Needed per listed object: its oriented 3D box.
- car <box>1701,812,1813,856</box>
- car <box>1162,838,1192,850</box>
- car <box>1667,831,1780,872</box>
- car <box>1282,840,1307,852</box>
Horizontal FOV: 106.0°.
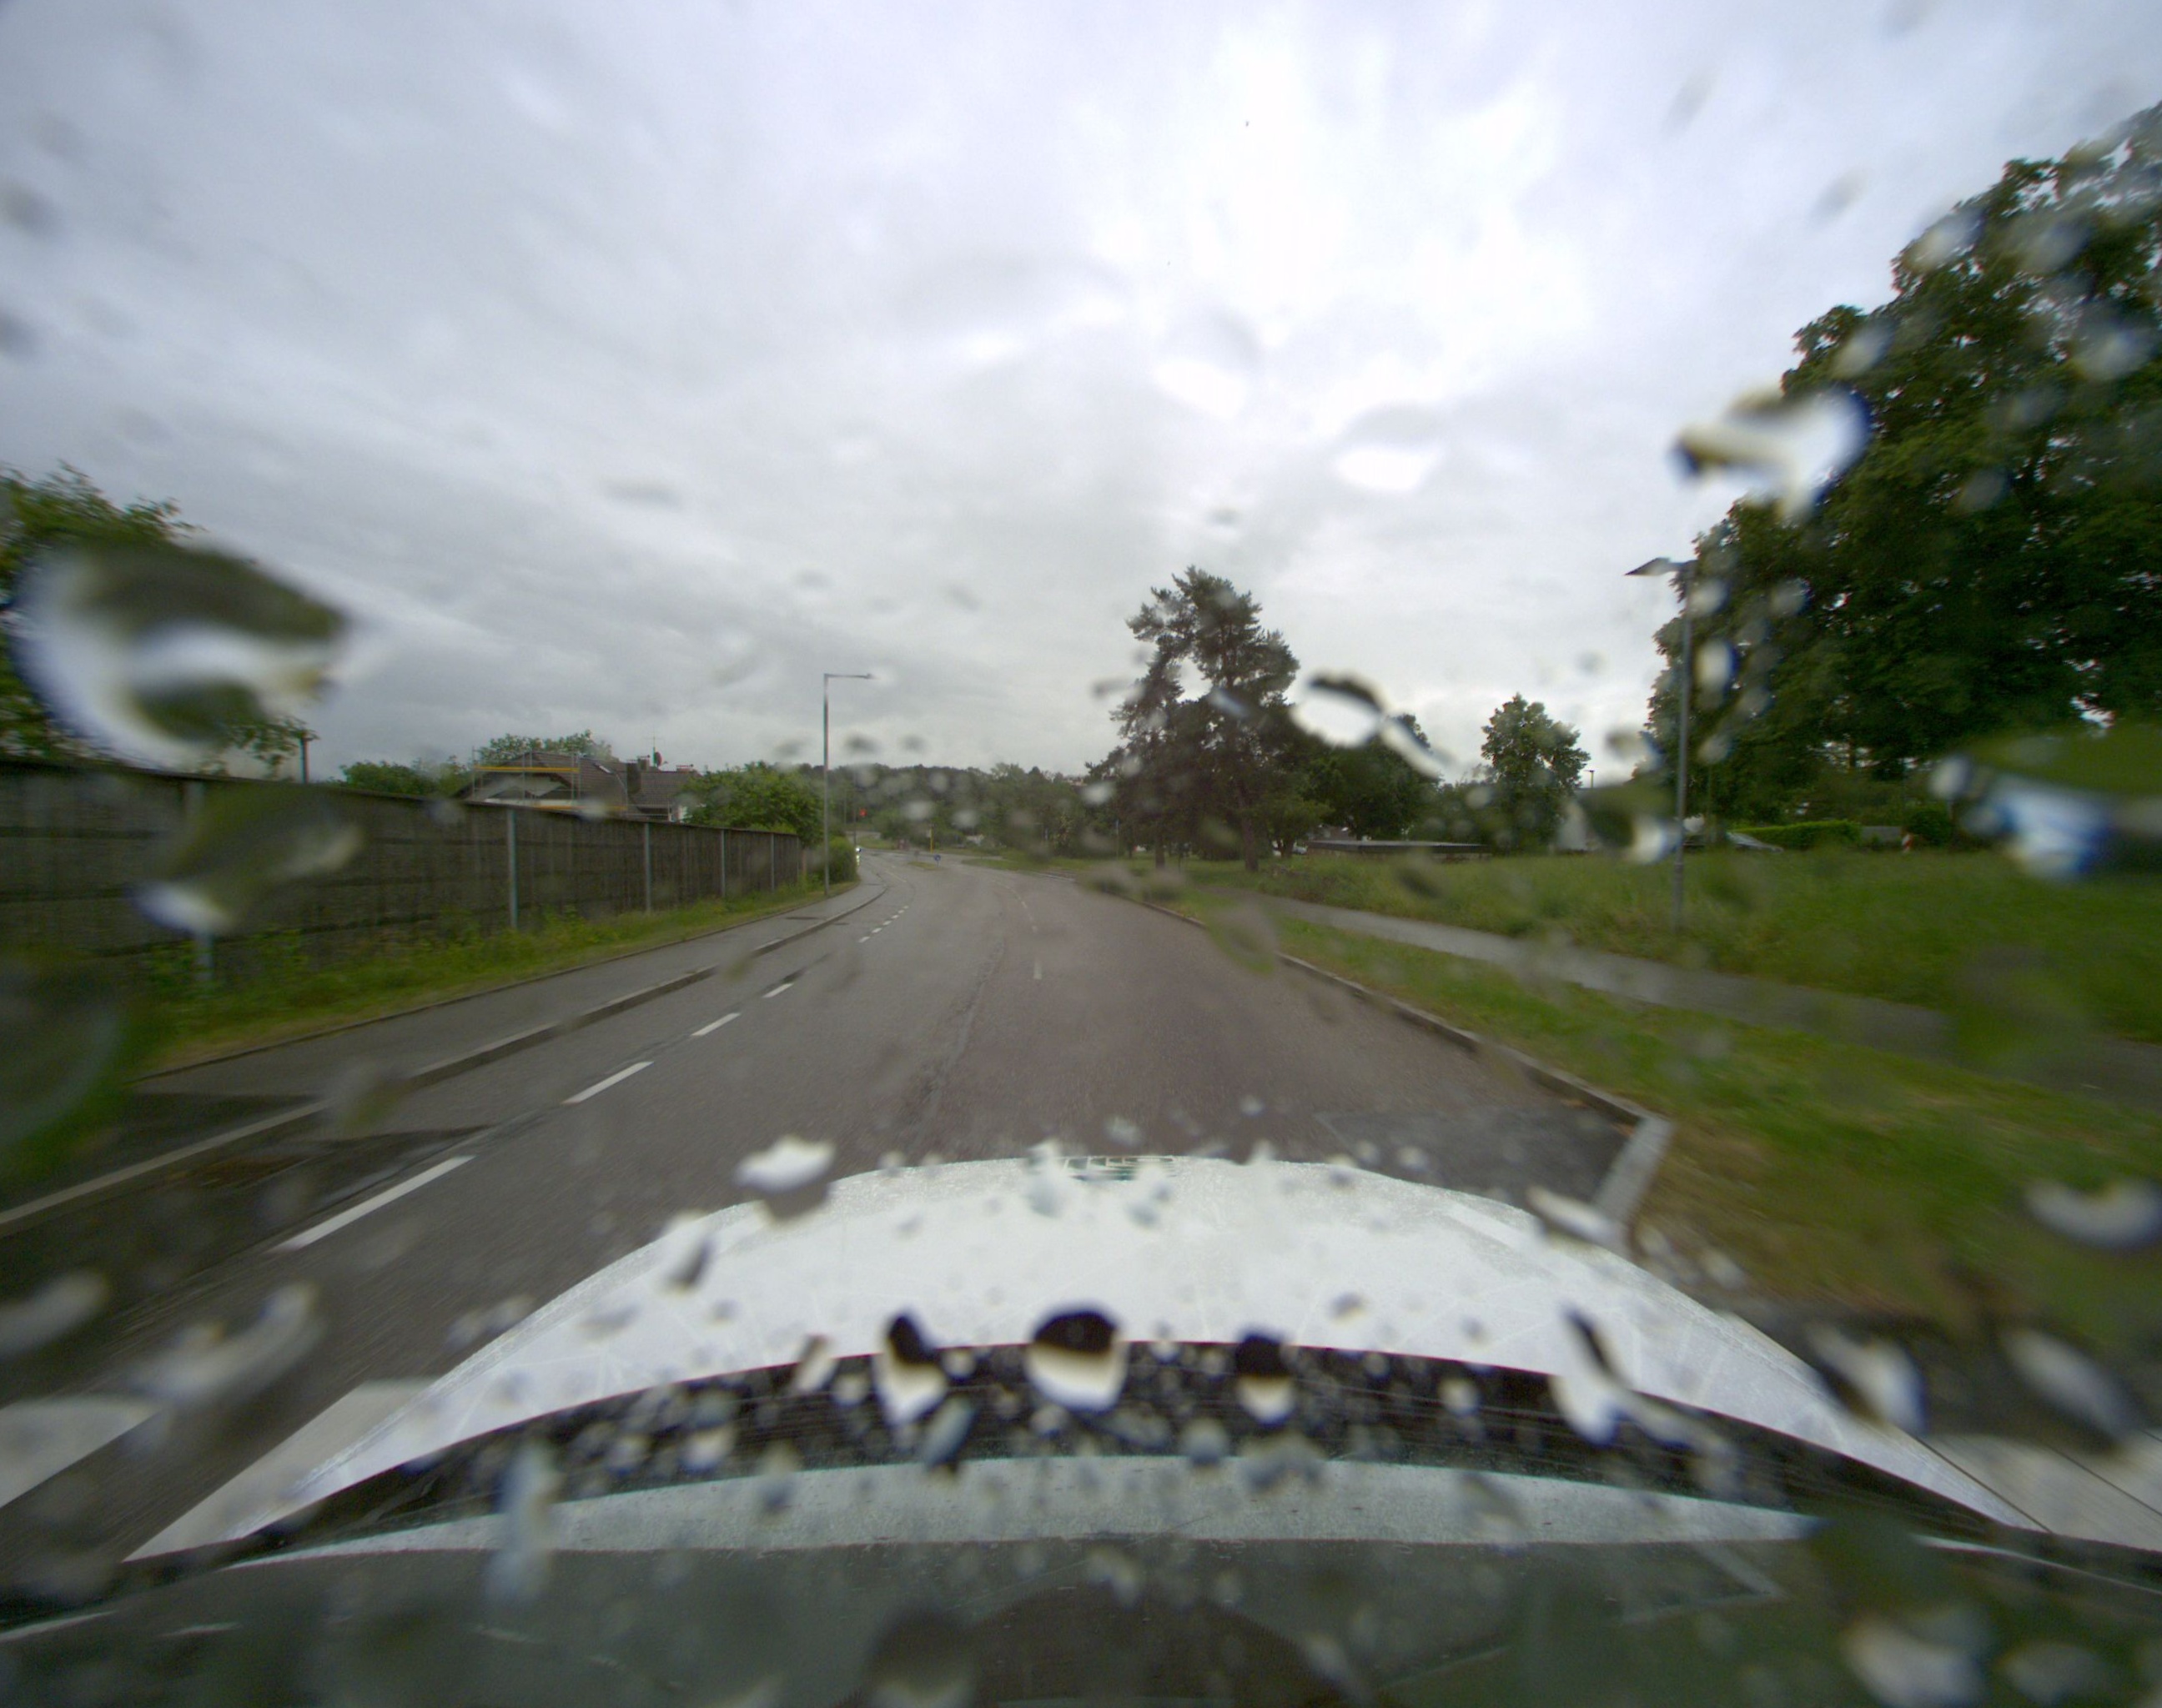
[{"bbox_3d":[42.466,-1.304,51.147,6.693,2.497,2.594,-2,4,-23],"label":"car"},{"bbox_3d":[16.256,-1.655,137.887,4.499,1.750,1.925,-3,0,38],"label":"car"},{"bbox_3d":[27.855,-0.128,35.459,1.819,1.652,4.001,-1,0,1],"label":"car"},{"bbox_3d":[29.258,-1.033,111.587,1.970,1.464,3.993,-4,0,-5],"label":"car"}]
